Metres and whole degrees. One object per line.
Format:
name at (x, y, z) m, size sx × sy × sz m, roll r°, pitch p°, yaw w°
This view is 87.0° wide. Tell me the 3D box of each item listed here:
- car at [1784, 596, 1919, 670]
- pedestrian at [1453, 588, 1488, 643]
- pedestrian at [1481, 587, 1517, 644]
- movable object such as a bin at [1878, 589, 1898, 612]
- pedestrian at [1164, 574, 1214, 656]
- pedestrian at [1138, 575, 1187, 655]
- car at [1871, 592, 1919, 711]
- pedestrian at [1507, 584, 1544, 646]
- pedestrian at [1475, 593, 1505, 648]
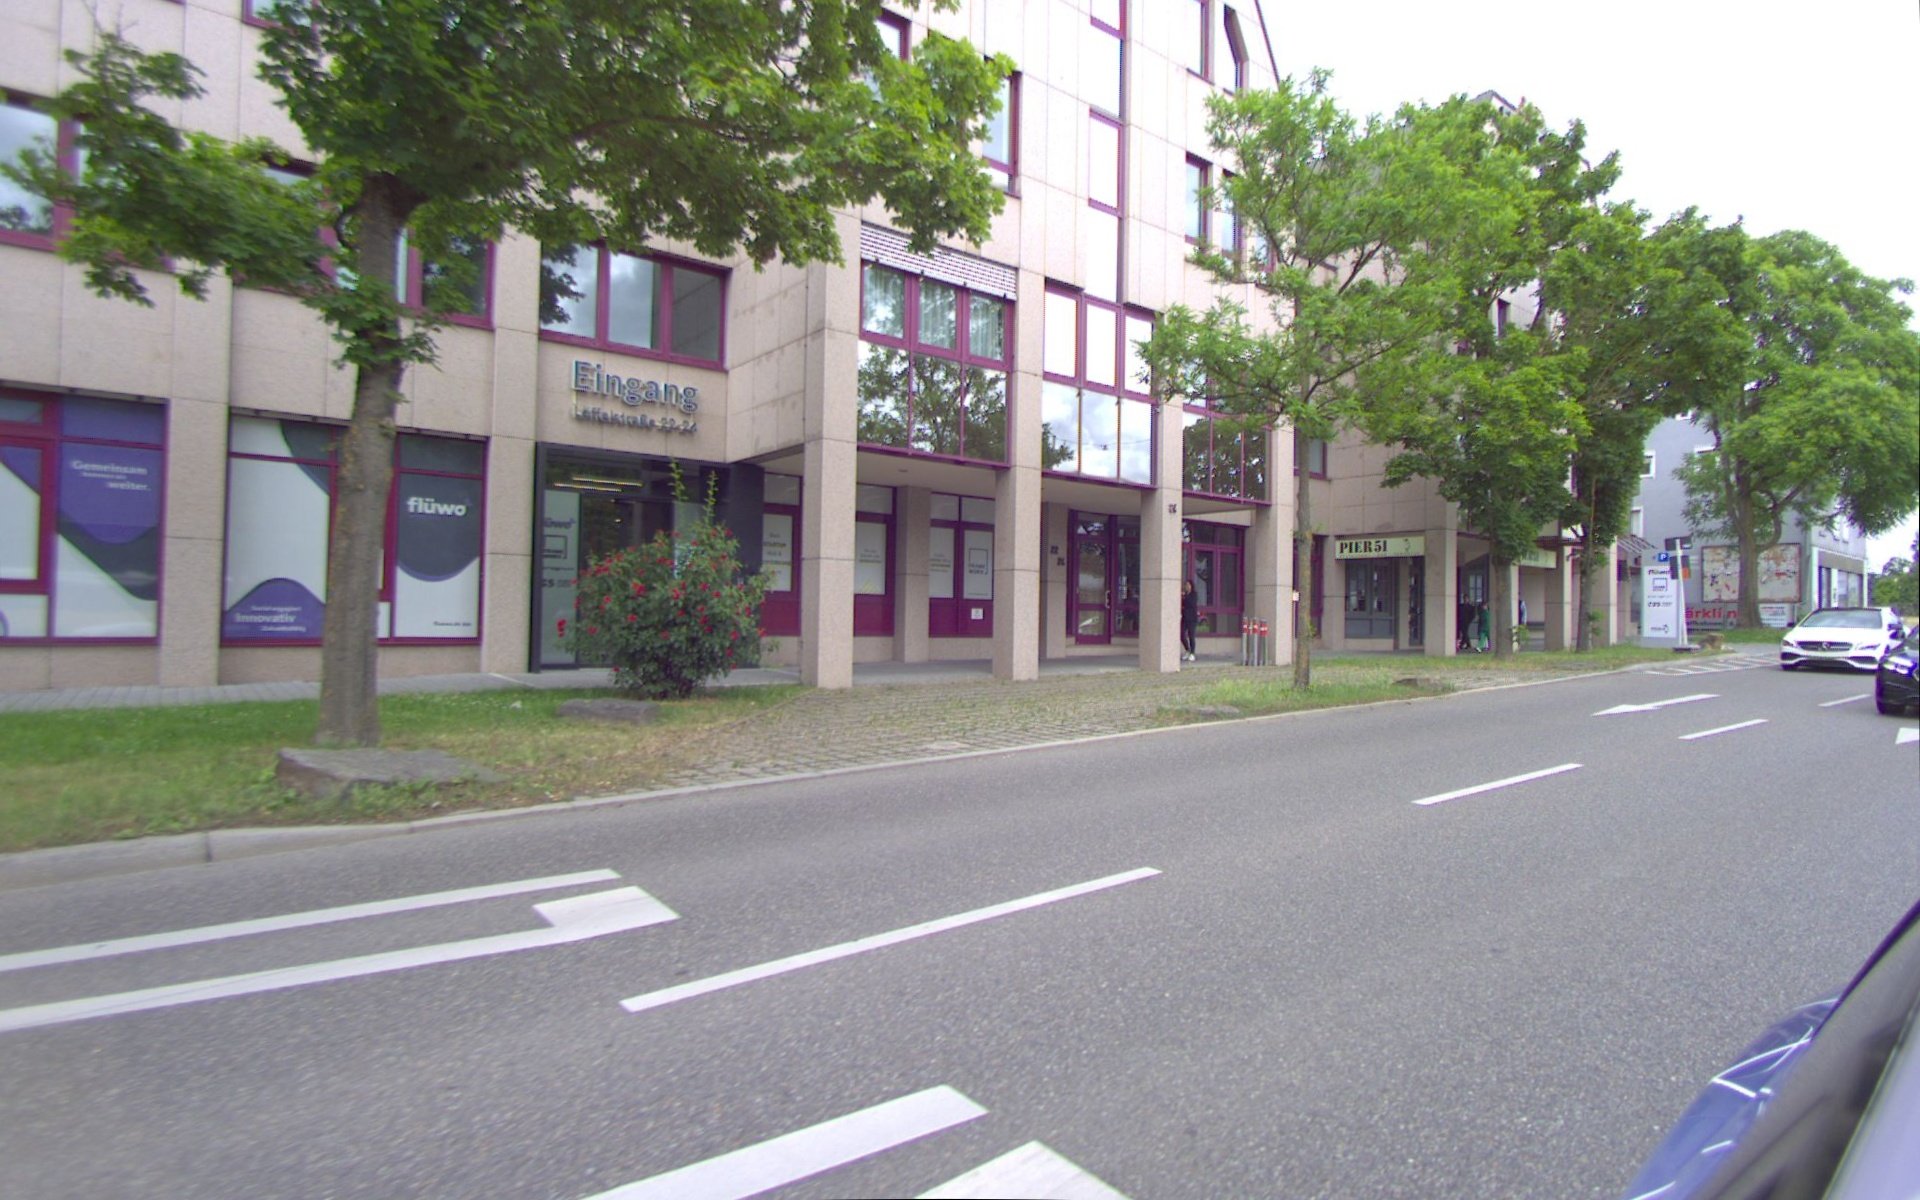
car at (20.333, 0.668, 22.786) m, size 4.614 × 1.491 × 1.798 m, roll 0°, pitch 0°, yaw -38°
pedestrian at (16.120, 0.480, 31.962) m, size 0.827 × 1.712 × 0.659 m, roll 0°, pitch 1°, yaw -38°
pedestrian at (16.679, 0.461, 31.335) m, size 0.827 × 1.712 × 0.659 m, roll 0°, pitch 1°, yaw -38°
movable object such as a bin at (45.462, 0.046, 49.568) m, size 0.697 × 1.118 × 0.610 m, roll 0°, pitch -1°, yaw -38°
pedestrian at (4.955, 0.312, 21.892) m, size 0.951 × 1.726 × 0.596 m, roll 0°, pitch 0°, yaw -37°
pedestrian at (4.496, 0.328, 22.453) m, size 0.951 × 1.726 × 0.596 m, roll 0°, pitch 0°, yaw -37°
car at (14.414, 0.676, 13.938) m, size 4.884 × 1.504 × 2.058 m, roll 0°, pitch 1°, yaw -39°
pedestrian at (17.111, 0.443, 30.632) m, size 0.827 × 1.849 × 0.659 m, roll 0°, pitch 1°, yaw -38°
pedestrian at (15.545, 0.584, 29.680) m, size 0.534 × 1.569 × 0.562 m, roll 0°, pitch 1°, yaw -38°
